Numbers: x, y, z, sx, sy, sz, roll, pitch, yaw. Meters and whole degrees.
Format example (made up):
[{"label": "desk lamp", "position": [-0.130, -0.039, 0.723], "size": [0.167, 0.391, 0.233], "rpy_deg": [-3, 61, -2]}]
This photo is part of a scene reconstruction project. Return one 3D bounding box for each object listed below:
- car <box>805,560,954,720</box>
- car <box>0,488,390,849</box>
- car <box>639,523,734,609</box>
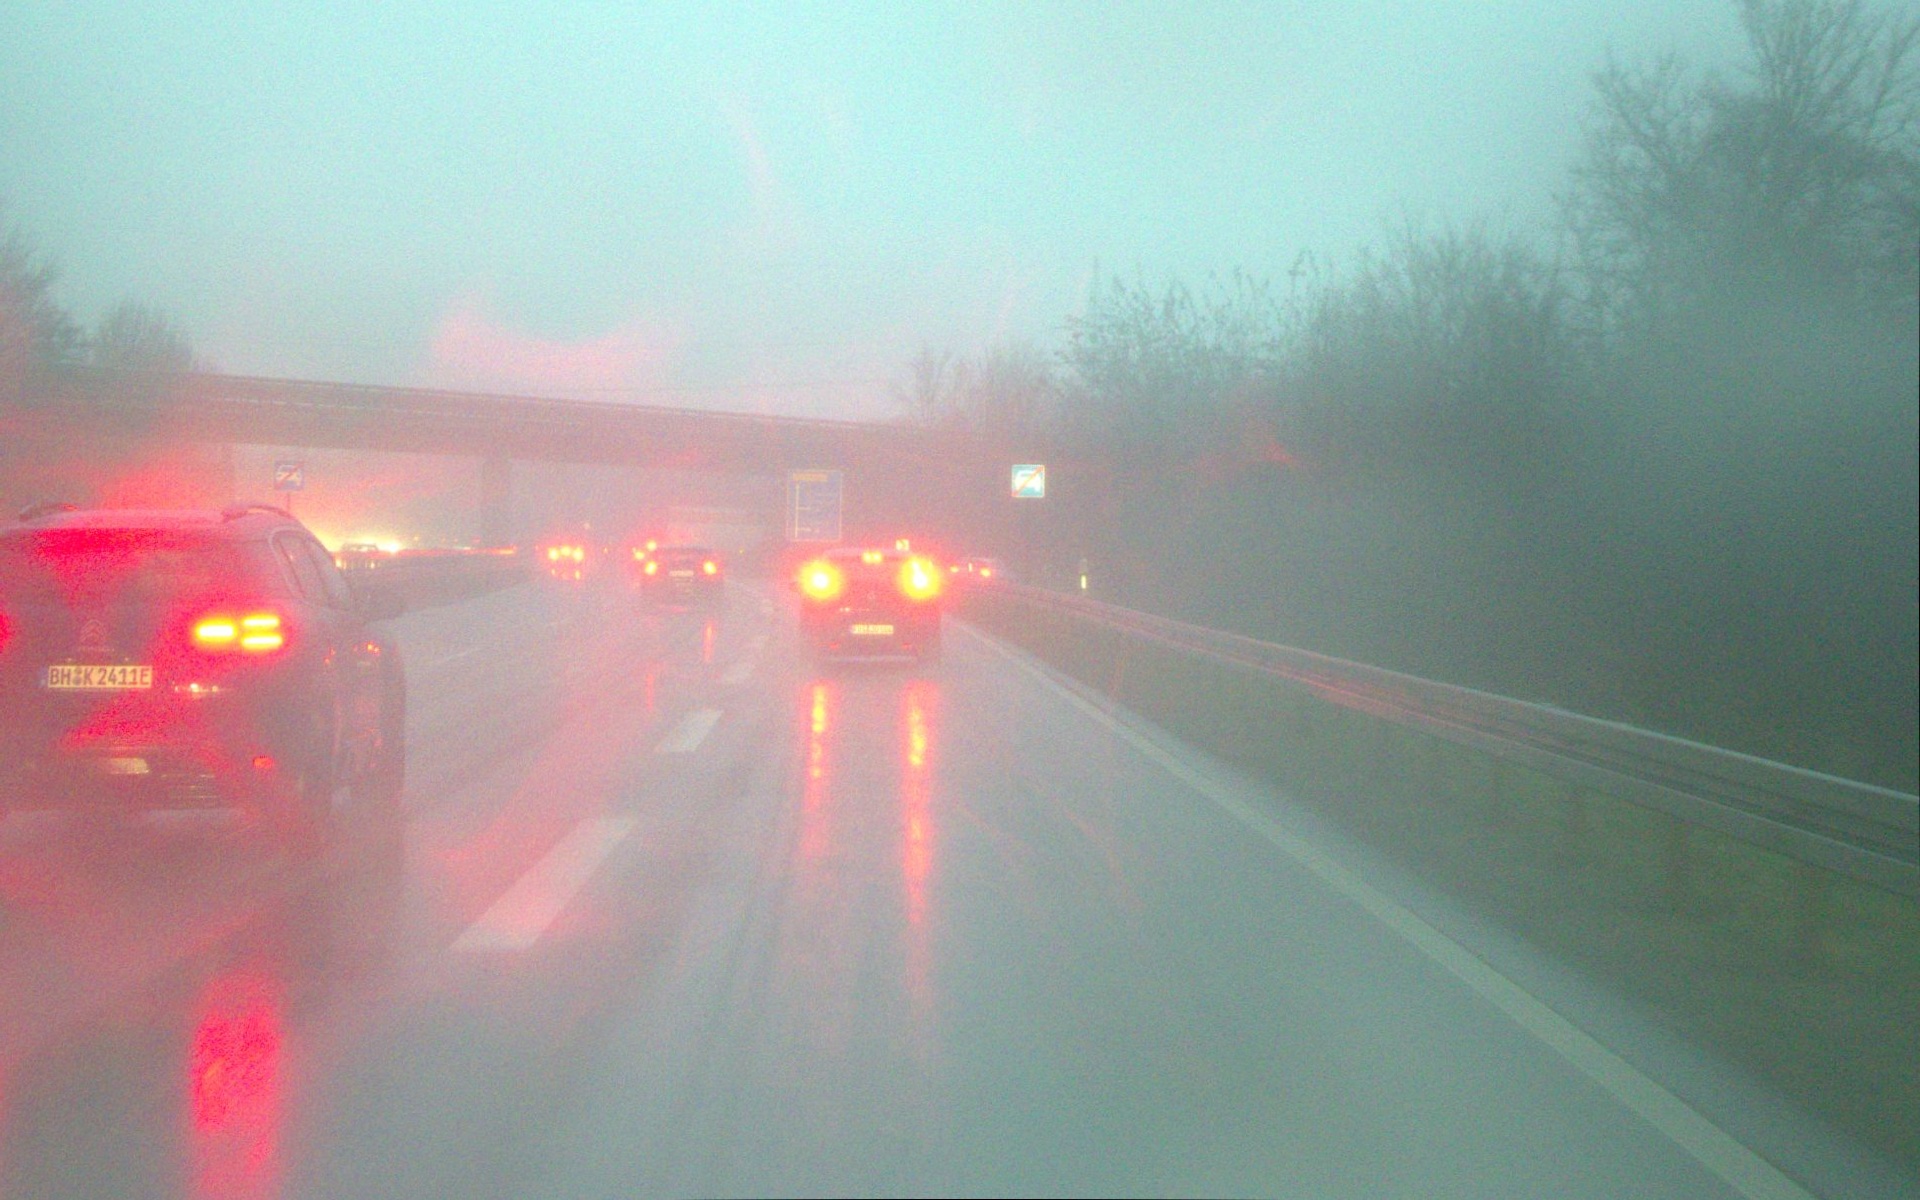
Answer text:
[{"label": "car", "position": [-0.958, 0.454, 42.501], "size": [1.732, 1.423, 3.767], "rpy_deg": [2, 7, 0]}, {"label": "car", "position": [-4.107, 0.277, 17.849], "size": [1.993, 1.659, 4.001], "rpy_deg": [0, 1, -6]}, {"label": "car", "position": [-5.774, -0.752, 72.843], "size": [1.878, 1.611, 3.875], "rpy_deg": [2, 3, -3]}]
